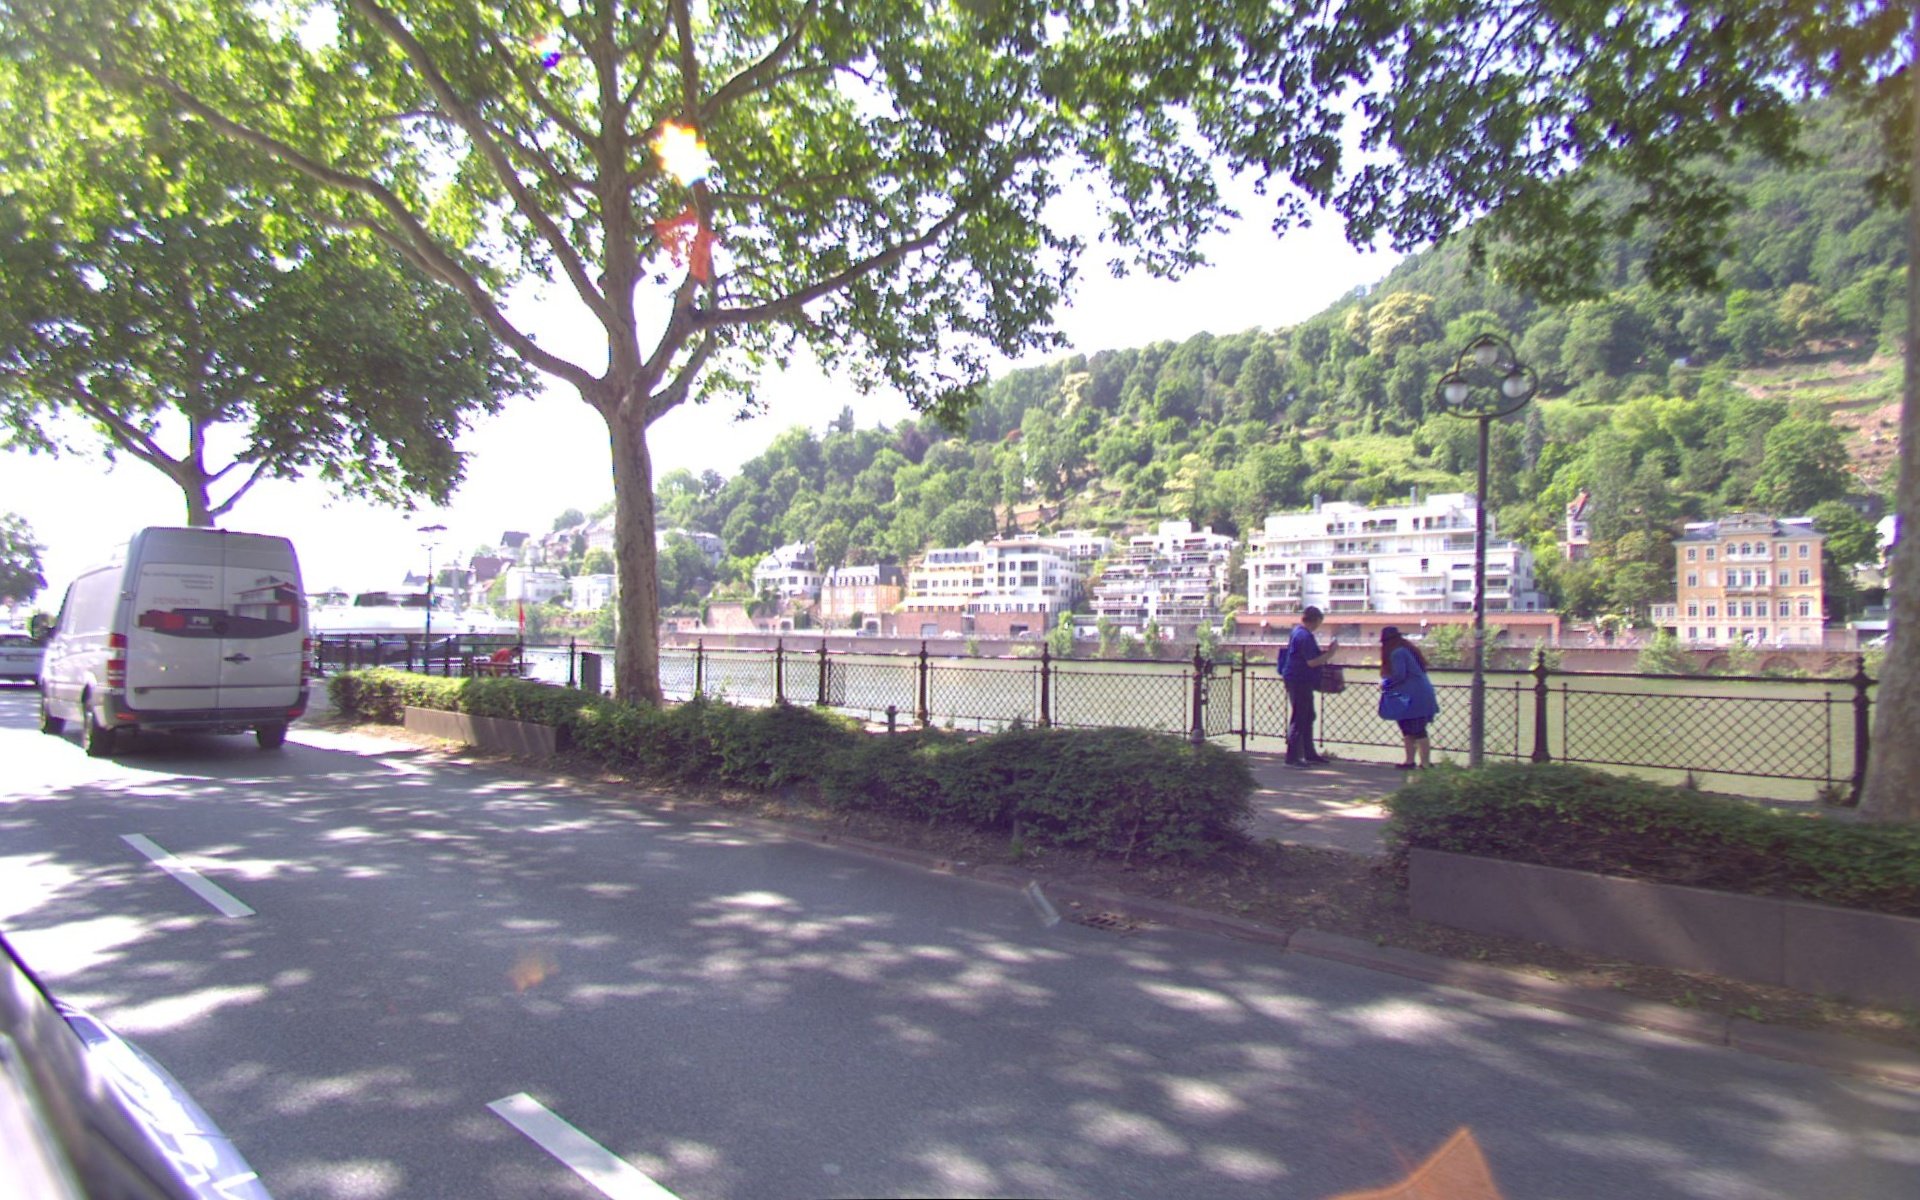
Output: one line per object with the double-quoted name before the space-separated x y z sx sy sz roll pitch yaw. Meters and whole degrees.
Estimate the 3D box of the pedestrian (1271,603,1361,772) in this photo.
"pedestrian" 3.860 0.920 10.981 0.705 1.744 0.696 -1 -3 43

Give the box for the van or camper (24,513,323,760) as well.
"van or camper" -10.509 0.486 13.300 5.839 2.587 1.940 -1 -5 42

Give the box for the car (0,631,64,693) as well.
"car" -24.667 1.547 26.035 4.531 1.468 1.751 -1 -4 41

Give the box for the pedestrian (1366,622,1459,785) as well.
"pedestrian" 4.741 1.047 10.603 0.705 1.615 0.696 -1 -3 43

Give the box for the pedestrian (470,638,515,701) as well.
"pedestrian" -10.245 1.515 22.197 0.656 1.318 0.695 -1 -1 42

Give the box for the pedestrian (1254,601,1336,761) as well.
"pedestrian" 3.971 0.932 11.994 0.705 1.811 0.696 -1 -3 43
